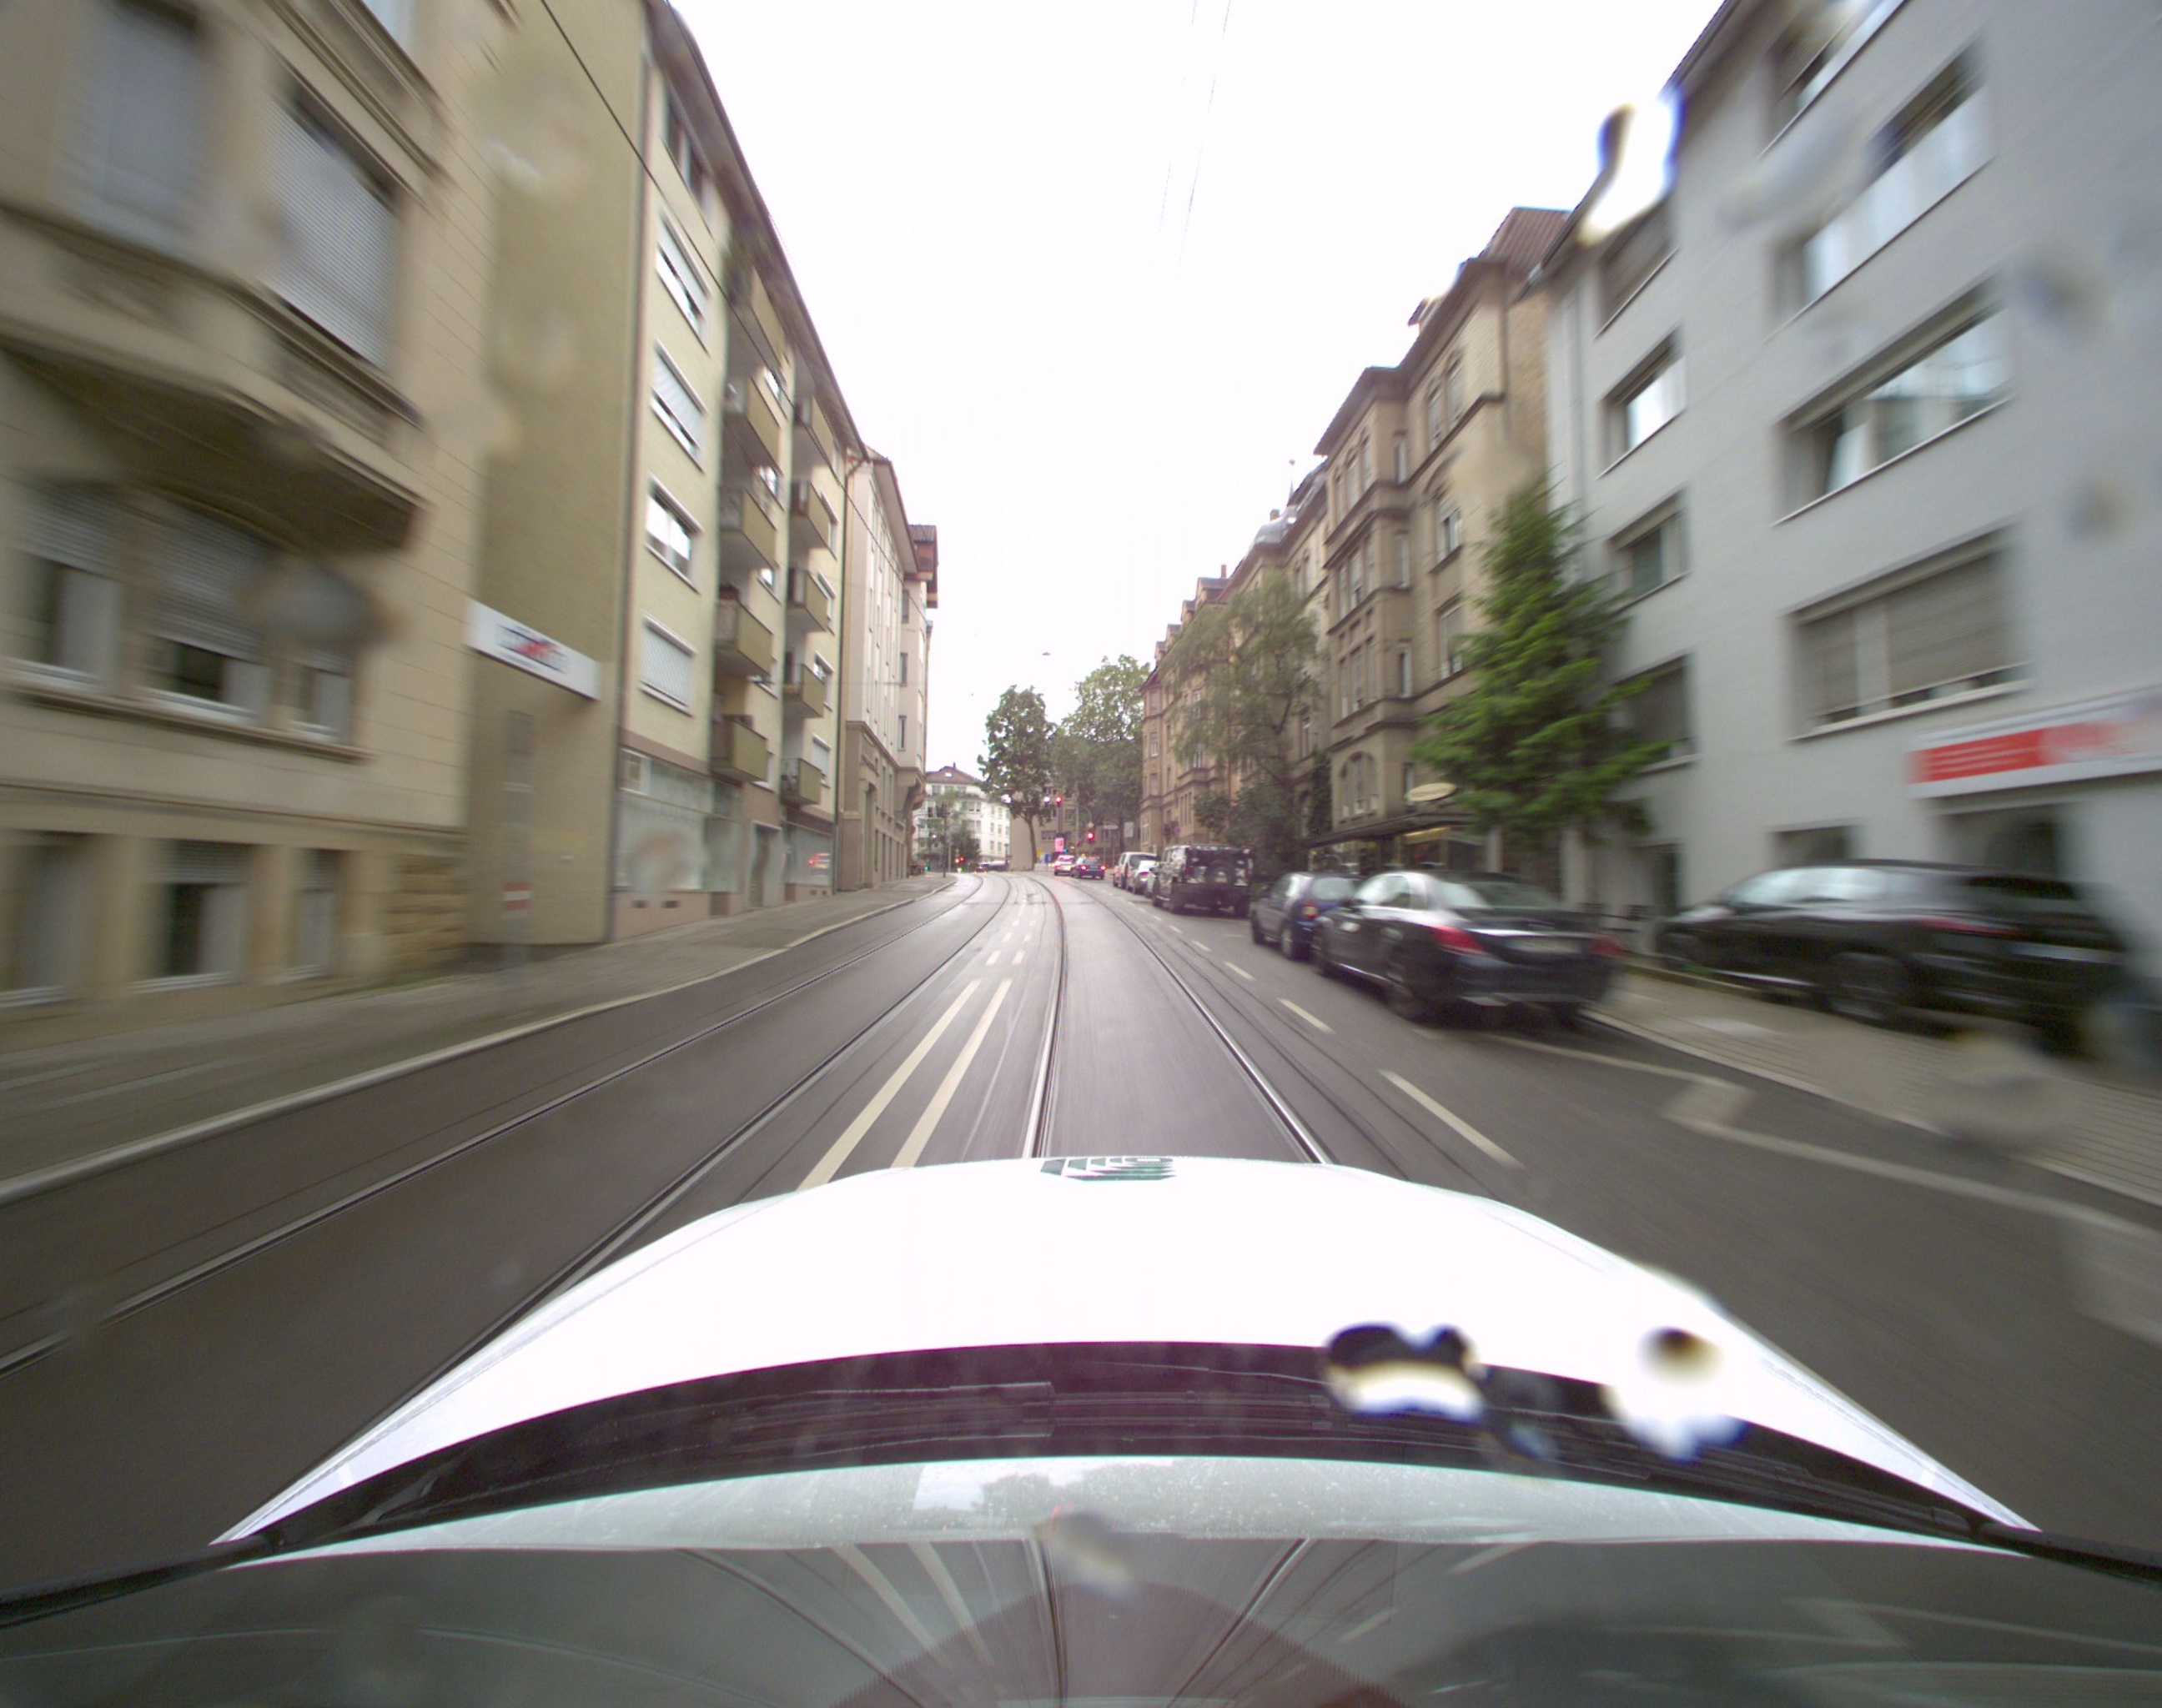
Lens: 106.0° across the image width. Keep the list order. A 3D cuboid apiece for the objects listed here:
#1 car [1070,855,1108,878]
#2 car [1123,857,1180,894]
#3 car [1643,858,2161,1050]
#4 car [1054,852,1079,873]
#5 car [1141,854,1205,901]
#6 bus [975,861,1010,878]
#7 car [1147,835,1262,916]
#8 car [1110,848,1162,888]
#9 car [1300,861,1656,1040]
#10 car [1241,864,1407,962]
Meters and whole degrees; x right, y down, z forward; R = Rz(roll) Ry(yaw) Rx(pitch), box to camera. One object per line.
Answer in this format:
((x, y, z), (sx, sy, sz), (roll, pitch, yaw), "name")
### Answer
((0.488, 0.789, 54.128), (1.711, 1.415, 4.020), (1, 0, -12), "car")
((2.962, 0.879, 34.998), (1.745, 1.400, 4.472), (3, 0, -3), "car")
((8.065, 0.798, 8.488), (1.804, 1.426, 4.159), (3, 0, 6), "car")
((-1.105, 0.619, 60.058), (1.706, 1.456, 3.549), (1, 0, -3), "car")
((3.304, 0.806, 29.843), (1.558, 1.546, 3.577), (3, 0, -5), "car")
((-15.676, 2.731, 145.433), (2.831, 2.861, 8.775), (0, 0, 19), "bus")
((3.431, 0.563, 23.850), (2.125, 2.013, 5.342), (3, 0, -4), "car")
((2.637, 0.651, 40.077), (1.795, 1.765, 4.454), (3, 0, -5), "car")
((3.982, 0.839, 9.197), (1.788, 1.437, 4.611), (1, 0, 0), "car")
((3.923, 0.888, 13.794), (1.672, 1.338, 3.883), (1, 0, 1), "car")
